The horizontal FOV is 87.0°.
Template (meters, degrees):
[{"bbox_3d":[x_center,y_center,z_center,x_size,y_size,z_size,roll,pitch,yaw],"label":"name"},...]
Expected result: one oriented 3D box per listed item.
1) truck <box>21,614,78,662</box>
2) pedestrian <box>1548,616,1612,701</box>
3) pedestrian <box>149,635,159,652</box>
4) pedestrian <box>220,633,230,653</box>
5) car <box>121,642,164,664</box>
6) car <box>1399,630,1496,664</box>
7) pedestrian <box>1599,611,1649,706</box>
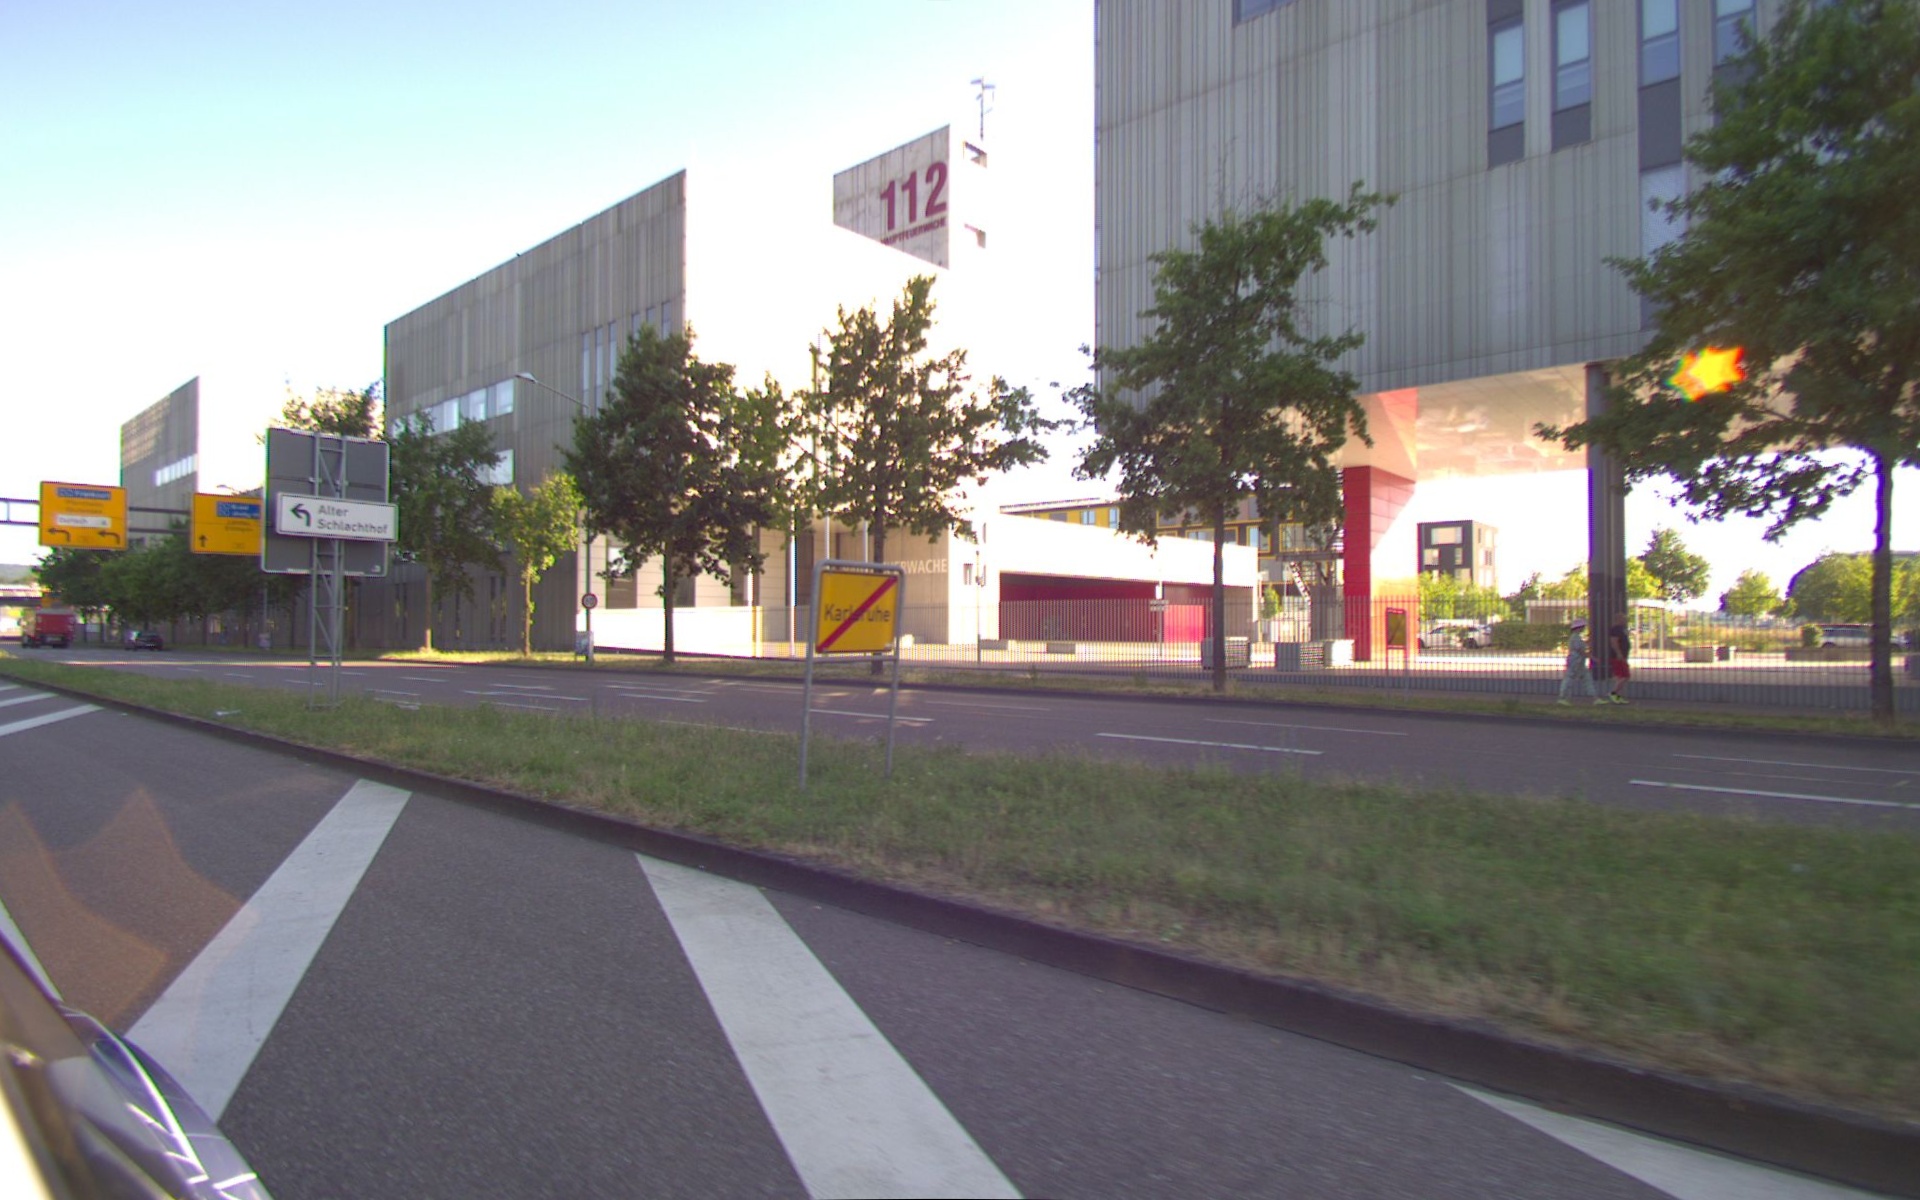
[{"bbox_3d":[-78.289,3.238,86.943,10.092,3.840,2.964,-2,-2,44],"label":"truck"},{"bbox_3d":[12.132,1.124,19.810,0.909,1.614,0.768,-2,-2,42],"label":"pedestrian"},{"bbox_3d":[-80.872,4.342,101.527,0.725,1.641,0.689,-2,-2,41],"label":"pedestrian"},{"bbox_3d":[-67.379,3.918,92.749,0.649,1.781,0.596,-2,-2,42],"label":"pedestrian"},{"bbox_3d":[-59.581,3.819,73.747,3.862,1.524,1.580,-2,-2,38],"label":"car"},{"bbox_3d":[28.369,2.695,59.013,4.782,1.889,1.886,-2,-2,40],"label":"car"},{"bbox_3d":[13.200,1.147,20.122,0.716,1.855,0.626,-2,-2,42],"label":"pedestrian"}]
